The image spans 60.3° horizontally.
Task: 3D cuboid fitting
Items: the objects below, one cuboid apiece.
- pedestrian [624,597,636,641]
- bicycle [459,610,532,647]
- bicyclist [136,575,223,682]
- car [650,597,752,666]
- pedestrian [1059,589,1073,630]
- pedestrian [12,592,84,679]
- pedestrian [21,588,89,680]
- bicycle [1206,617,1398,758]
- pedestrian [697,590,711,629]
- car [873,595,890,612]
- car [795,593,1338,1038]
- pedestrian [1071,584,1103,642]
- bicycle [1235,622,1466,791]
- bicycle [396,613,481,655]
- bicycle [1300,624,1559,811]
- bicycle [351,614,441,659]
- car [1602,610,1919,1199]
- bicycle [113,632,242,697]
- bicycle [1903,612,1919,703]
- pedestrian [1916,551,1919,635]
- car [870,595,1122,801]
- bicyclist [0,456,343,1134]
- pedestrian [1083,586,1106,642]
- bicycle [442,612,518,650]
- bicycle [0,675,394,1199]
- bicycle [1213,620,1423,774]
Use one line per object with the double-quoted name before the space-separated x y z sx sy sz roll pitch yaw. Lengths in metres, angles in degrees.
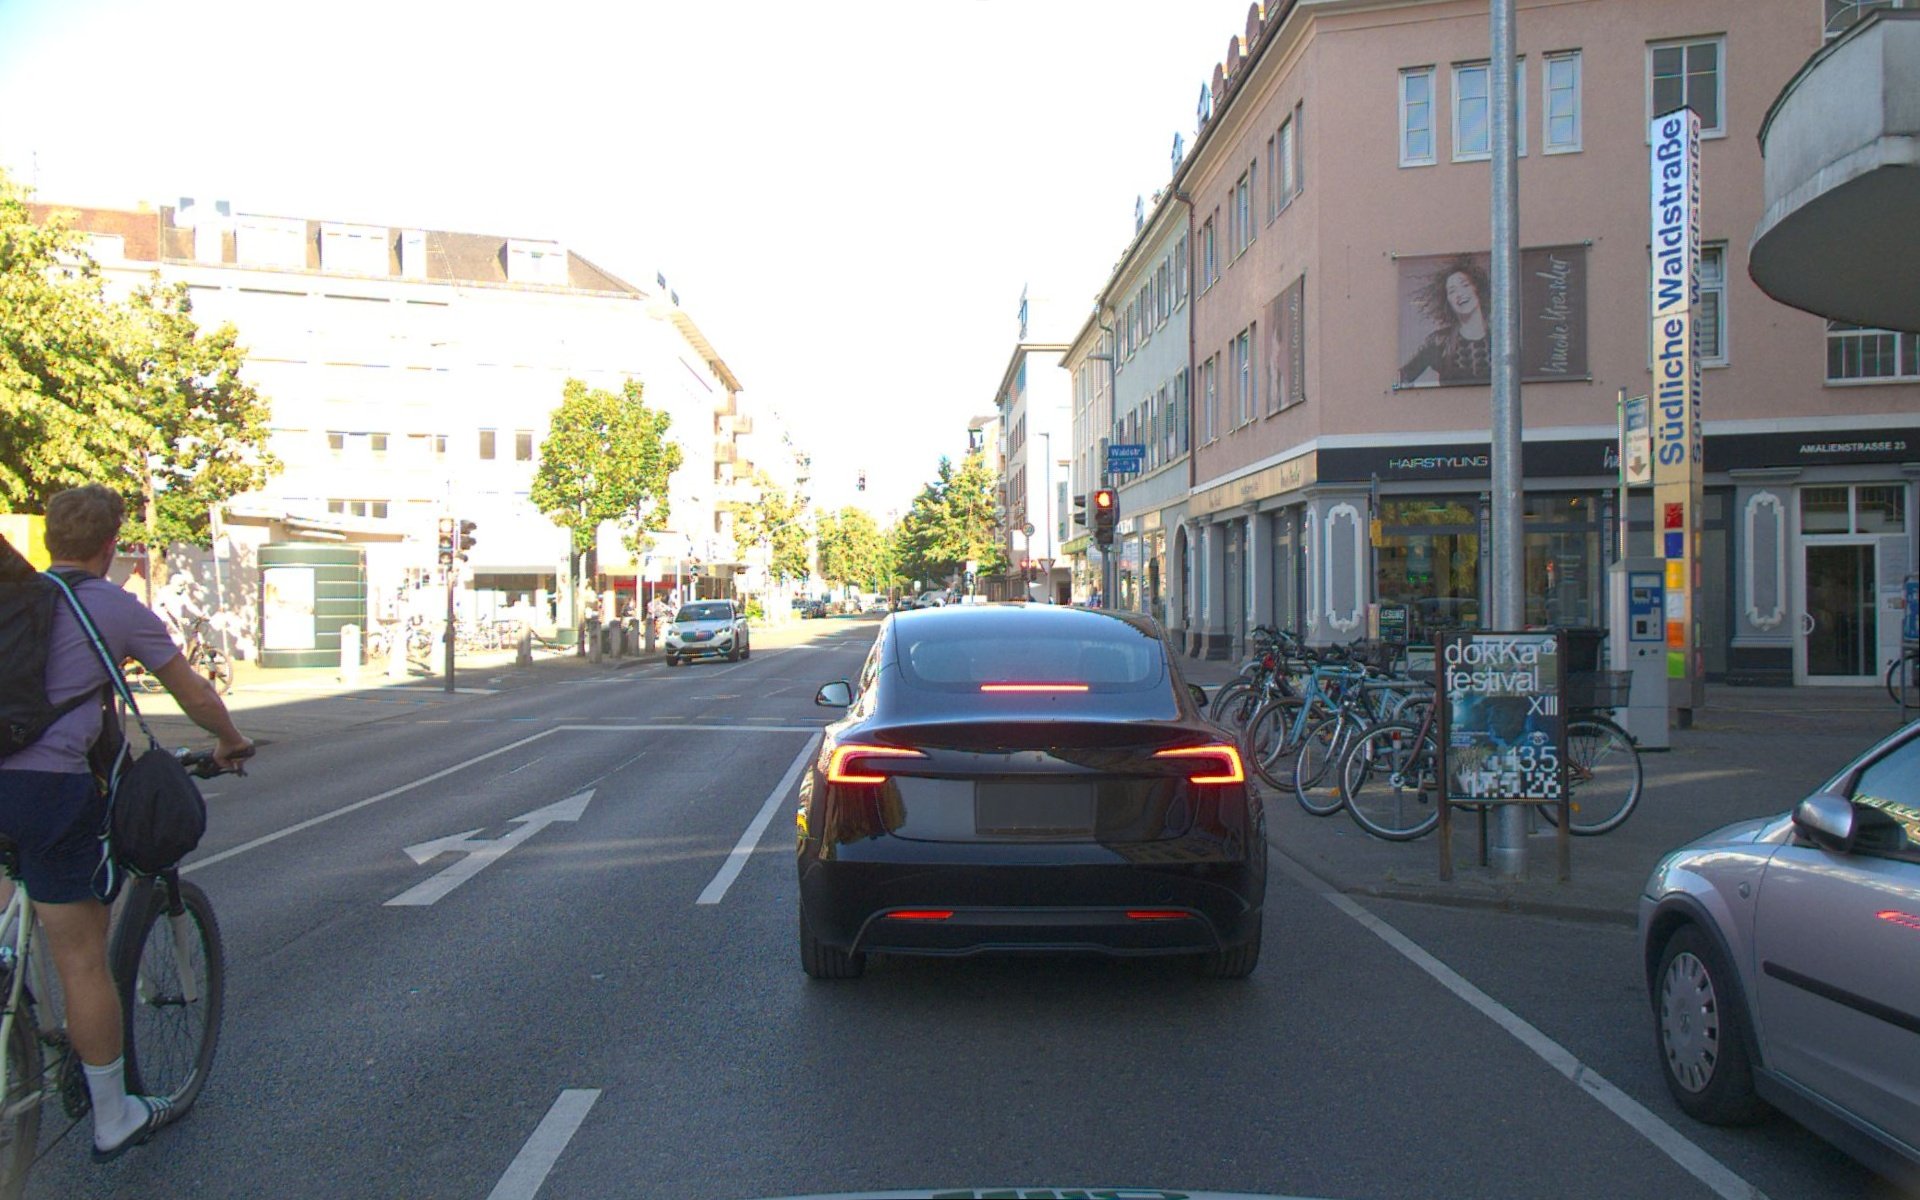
"pedestrian" -12.417 0.707 62.279 0.378 1.619 0.705 0 0 -5
"bicycle" -14.577 0.894 51.931 2.040 1.123 0.806 0 0 -1
"bicyclist" -12.516 0.449 26.538 1.096 1.683 0.629 0 0 10
"car" -6.578 0.770 42.444 1.953 1.567 3.999 -4 0 -1
"pedestrian" 4.485 0.413 70.272 0.559 1.720 0.387 0 0 -1
"pedestrian" -17.695 0.680 32.114 0.966 1.665 0.737 0 0 3
"pedestrian" -17.543 0.647 32.061 0.882 1.755 0.744 0 0 3
"bicycle" 3.045 0.775 14.790 1.594 1.180 0.433 -2 0 0
"pedestrian" -13.420 0.490 86.642 0.613 2.049 0.707 0 0 -1
"car" -8.332 0.374 175.266 1.793 1.754 3.998 0 0 -2
"car" 0.358 0.717 7.415 1.812 1.480 3.786 0 0 0
"pedestrian" 4.136 0.429 53.885 0.979 1.883 0.615 0 0 -1
"bicycle" 2.920 0.790 12.418 1.595 1.180 0.432 -2 0 -2
"bicycle" -14.165 0.918 44.969 2.040 1.123 0.806 0 0 -1
"bicycle" 3.163 0.781 11.192 1.595 1.180 0.432 -2 0 -2
"bicycle" -14.459 0.929 42.444 2.040 1.123 0.806 0 0 -1
"car" 2.912 0.748 3.519 1.588 1.419 3.886 0 0 0
"bicycle" -12.554 1.021 26.536 1.823 0.962 0.629 1 0 10
"bicycle" 12.051 0.683 19.431 1.581 1.063 0.591 1 0 12
"pedestrian" 6.726 0.491 10.917 0.650 1.661 0.626 -3 -1 31
"car" 0.263 0.700 13.812 1.812 1.480 3.786 0 0 0
"bicyclist" -2.094 0.418 4.068 0.780 1.460 1.008 0 0 -1
"pedestrian" 4.369 0.459 53.832 0.689 1.814 0.533 0 0 -1
"bicycle" -14.434 0.935 49.739 2.040 1.123 0.806 0 0 -1
"bicycle" -2.099 0.858 4.123 0.780 1.254 1.773 0 0 -1
"bicycle" 2.928 0.788 13.585 1.595 1.180 0.432 -2 0 -2
